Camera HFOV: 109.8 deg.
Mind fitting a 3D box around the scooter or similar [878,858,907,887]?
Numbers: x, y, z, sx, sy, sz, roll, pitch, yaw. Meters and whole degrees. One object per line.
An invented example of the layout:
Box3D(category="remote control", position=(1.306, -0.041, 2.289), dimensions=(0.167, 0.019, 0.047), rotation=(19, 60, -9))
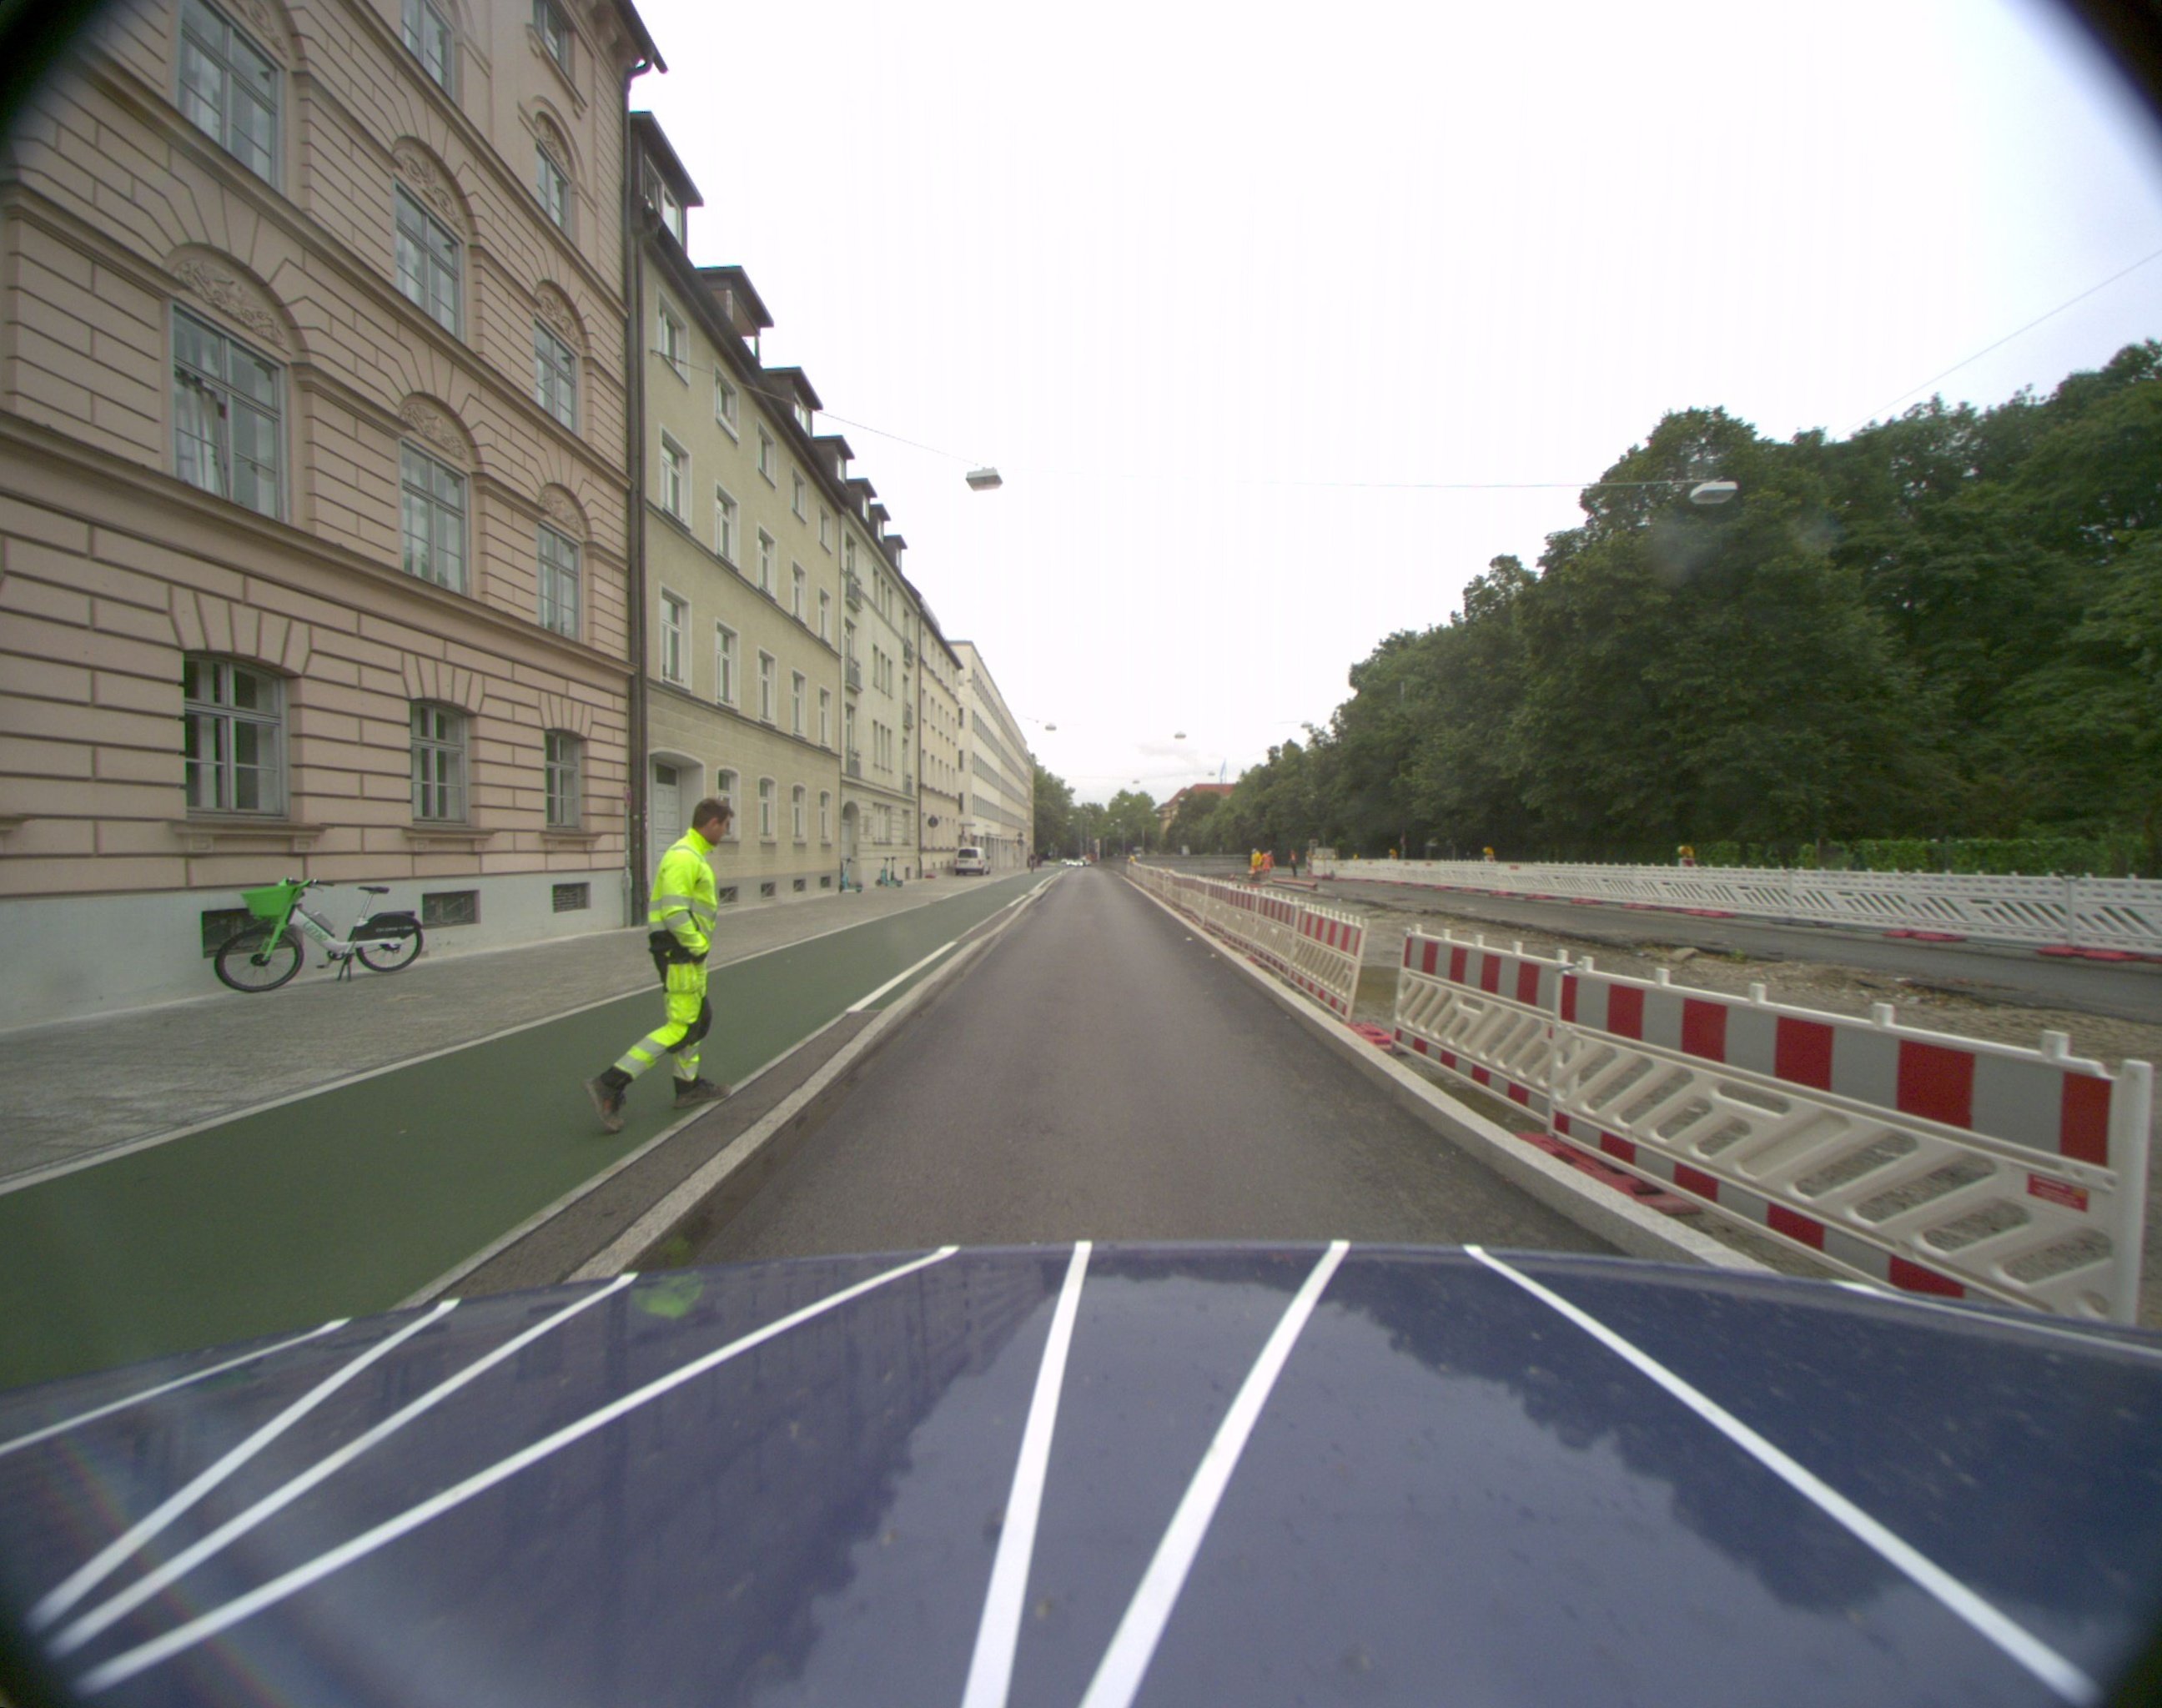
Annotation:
Box3D(category="scooter or similar", position=(-7.831, 0.767, 31.612), dimensions=(1.078, 1.185, 0.453), rotation=(0, 1, -29))

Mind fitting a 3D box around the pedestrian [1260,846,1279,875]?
Box3D(category="pedestrian", position=(11.018, 0.349, 44.459), dimensions=(0.900, 1.679, 0.911), rotation=(0, 1, 3))

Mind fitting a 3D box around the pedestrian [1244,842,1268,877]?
Box3D(category="pedestrian", position=(9.329, 0.302, 40.498), dimensions=(0.877, 1.826, 0.858), rotation=(-1, 1, -43))

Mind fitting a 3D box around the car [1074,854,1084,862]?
Box3D(category="car", position=(-0.383, 0.772, 148.914), dimensions=(1.759, 1.461, 3.998), rotation=(-2, 1, -5))

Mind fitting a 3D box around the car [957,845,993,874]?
Box3D(category="car", position=(-6.809, 0.309, 49.259), dimensions=(1.766, 1.821, 3.999), rotation=(0, 1, 0))

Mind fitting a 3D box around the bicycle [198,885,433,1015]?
Box3D(category="bicycle", position=(-8.189, 0.969, 8.246), dimensions=(0.556, 1.170, 1.727), rotation=(0, 1, 15))

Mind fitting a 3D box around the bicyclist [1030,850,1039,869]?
Box3D(category="bicyclist", position=(-3.728, 0.444, 60.879), dimensions=(0.632, 1.459, 0.652), rotation=(0, 1, -6))

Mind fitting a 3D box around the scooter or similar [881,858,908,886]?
Box3D(category="scooter or similar", position=(-8.091, 0.771, 32.949), dimensions=(1.079, 1.185, 0.436), rotation=(-1, 1, -39))

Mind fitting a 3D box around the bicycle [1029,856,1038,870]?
Box3D(category="bicycle", position=(-3.796, 0.721, 60.859), dimensions=(0.632, 1.031, 2.016), rotation=(0, 1, -6))

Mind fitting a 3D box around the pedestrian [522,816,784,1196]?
Box3D(category="pedestrian", position=(-2.349, 0.715, 4.212), dimensions=(0.813, 1.792, 0.995), rotation=(-1, 1, 40))

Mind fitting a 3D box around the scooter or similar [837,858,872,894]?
Box3D(category="scooter or similar", position=(-7.999, 0.767, 26.870), dimensions=(0.552, 1.238, 1.079), rotation=(1, 1, 35))

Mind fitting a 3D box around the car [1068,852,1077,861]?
Box3D(category="car", position=(-2.016, 0.663, 178.841), dimensions=(1.998, 2.002, 3.999), rotation=(-2, 1, 1))

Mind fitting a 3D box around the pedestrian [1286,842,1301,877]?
Box3D(category="pedestrian", position=(12.119, 0.289, 43.313), dimensions=(0.666, 1.959, 0.807), rotation=(1, 1, 26))

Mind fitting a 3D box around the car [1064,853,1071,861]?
Box3D(category="car", position=(-3.980, 0.812, 218.063), dimensions=(1.999, 2.002, 3.998), rotation=(-2, 1, -2))
